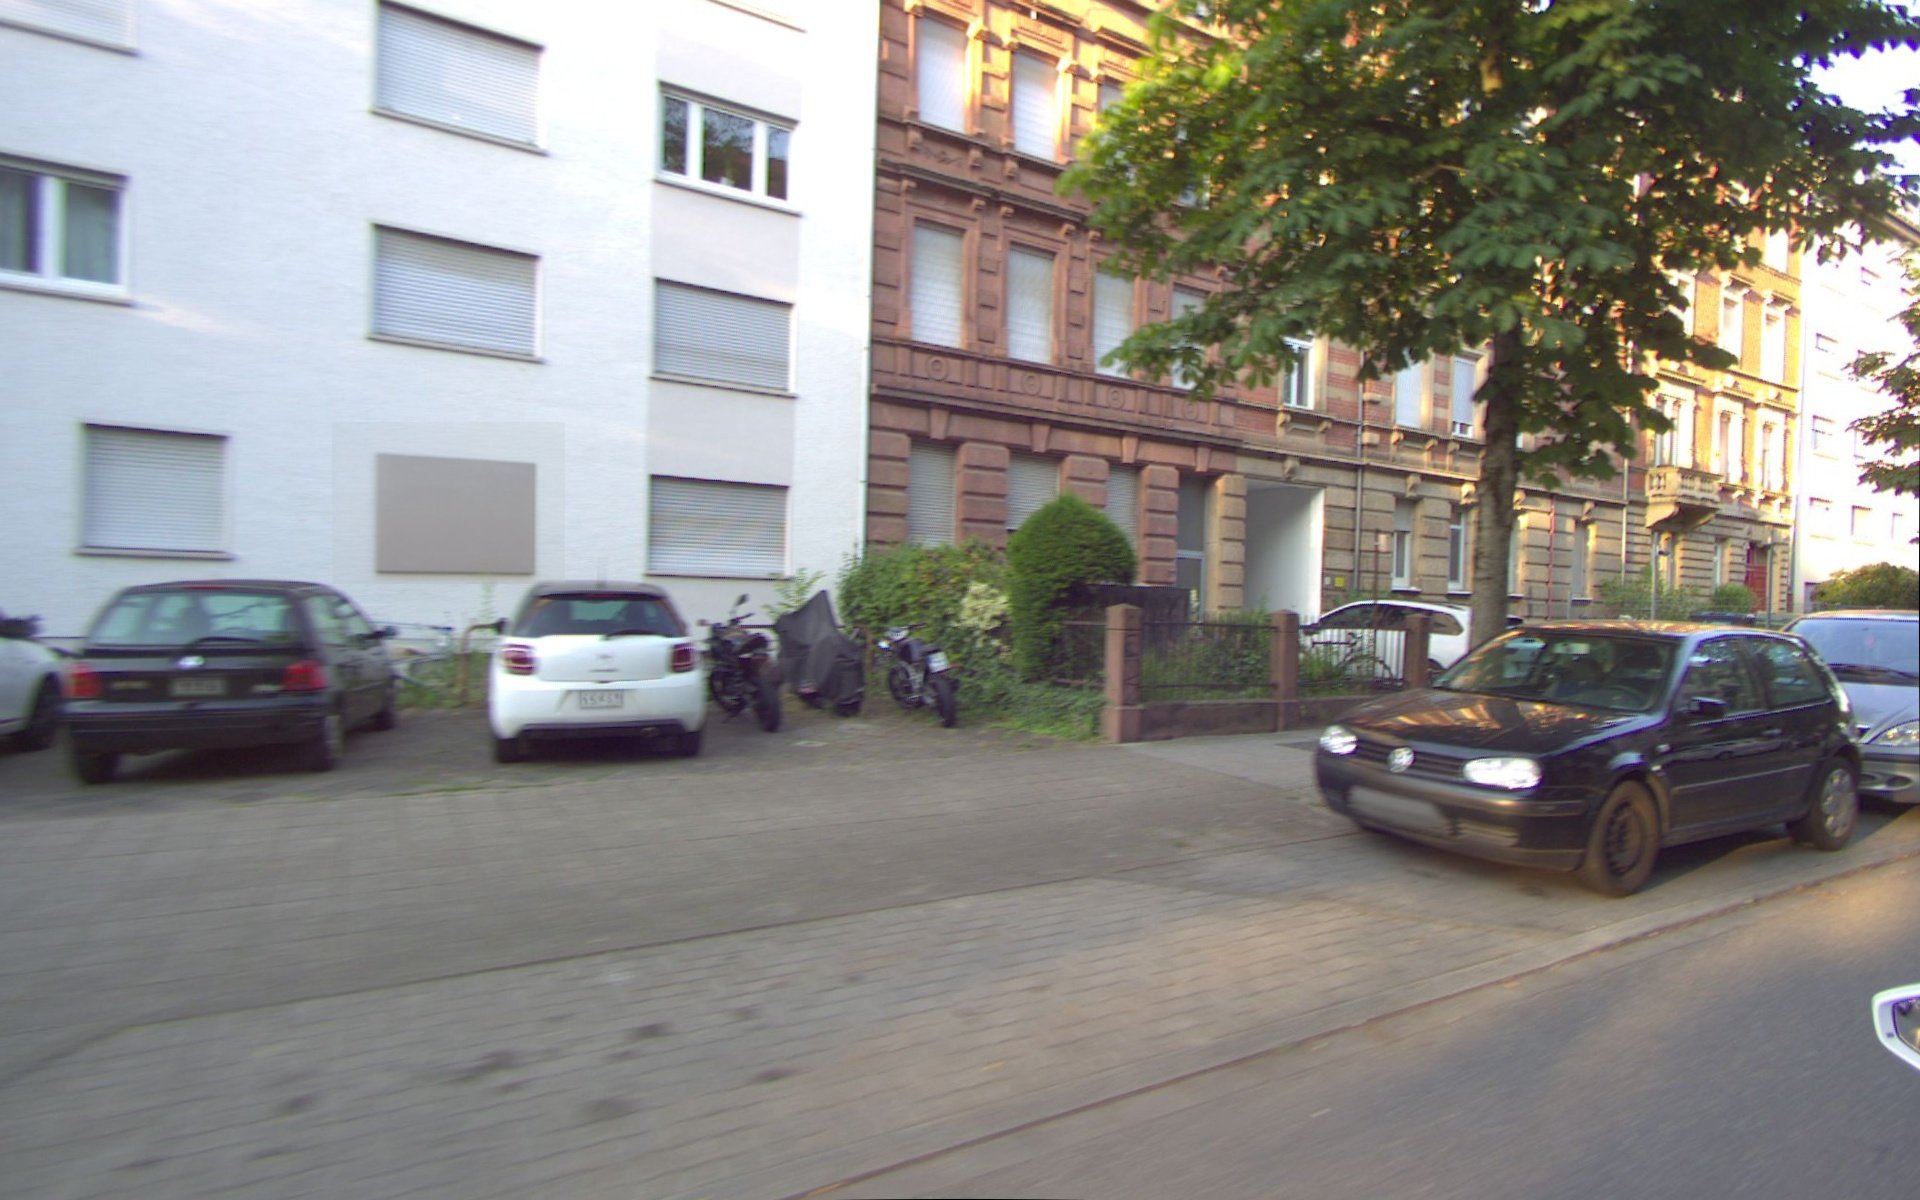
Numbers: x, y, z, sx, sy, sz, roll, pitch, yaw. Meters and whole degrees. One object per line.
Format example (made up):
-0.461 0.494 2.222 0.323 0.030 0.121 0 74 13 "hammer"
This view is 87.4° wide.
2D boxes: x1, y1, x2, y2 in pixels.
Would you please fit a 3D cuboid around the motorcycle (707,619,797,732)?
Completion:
-2.263 0.745 10.702 0.578 0.971 2.232 1 1 -21 "motorcycle"

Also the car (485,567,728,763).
-3.372 0.457 9.527 1.790 1.467 3.556 0 1 -21 "car"

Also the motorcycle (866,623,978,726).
-0.486 0.792 11.448 0.578 0.971 2.232 1 1 -21 "motorcycle"

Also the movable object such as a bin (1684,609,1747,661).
19.393 0.878 25.787 0.998 1.225 1.085 -1 4 -44 "movable object such as a bin"

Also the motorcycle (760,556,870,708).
-1.846 0.337 12.367 0.665 1.660 2.846 1 0 -22 "motorcycle"

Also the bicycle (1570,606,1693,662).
17.281 0.847 25.934 0.638 1.208 2.506 0 4 -40 "bicycle"

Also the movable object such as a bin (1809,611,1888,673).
20.615 0.953 23.312 0.991 1.339 1.009 1 3 -26 "movable object such as a bin"

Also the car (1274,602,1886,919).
4.068 0.811 6.483 3.912 1.490 1.609 1 1 -29 "car"

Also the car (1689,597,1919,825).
8.158 0.835 8.882 3.706 1.625 1.585 1 1 -34 "car"

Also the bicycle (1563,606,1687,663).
16.894 0.848 25.587 0.638 1.208 2.506 0 4 -40 "bicycle"

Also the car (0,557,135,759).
-7.888 0.410 7.315 1.684 1.467 4.085 0 1 -21 "car"

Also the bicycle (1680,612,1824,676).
18.027 0.977 22.968 0.634 1.208 2.521 1 3 -24 "bicycle"

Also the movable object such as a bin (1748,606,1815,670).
19.865 0.893 24.296 0.998 1.433 1.085 -1 4 -44 "movable object such as a bin"

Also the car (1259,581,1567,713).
6.840 0.621 15.632 1.690 1.548 4.070 1 3 -31 "car"

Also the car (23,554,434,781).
-5.893 0.402 8.725 1.790 1.467 4.087 0 1 -20 "car"
